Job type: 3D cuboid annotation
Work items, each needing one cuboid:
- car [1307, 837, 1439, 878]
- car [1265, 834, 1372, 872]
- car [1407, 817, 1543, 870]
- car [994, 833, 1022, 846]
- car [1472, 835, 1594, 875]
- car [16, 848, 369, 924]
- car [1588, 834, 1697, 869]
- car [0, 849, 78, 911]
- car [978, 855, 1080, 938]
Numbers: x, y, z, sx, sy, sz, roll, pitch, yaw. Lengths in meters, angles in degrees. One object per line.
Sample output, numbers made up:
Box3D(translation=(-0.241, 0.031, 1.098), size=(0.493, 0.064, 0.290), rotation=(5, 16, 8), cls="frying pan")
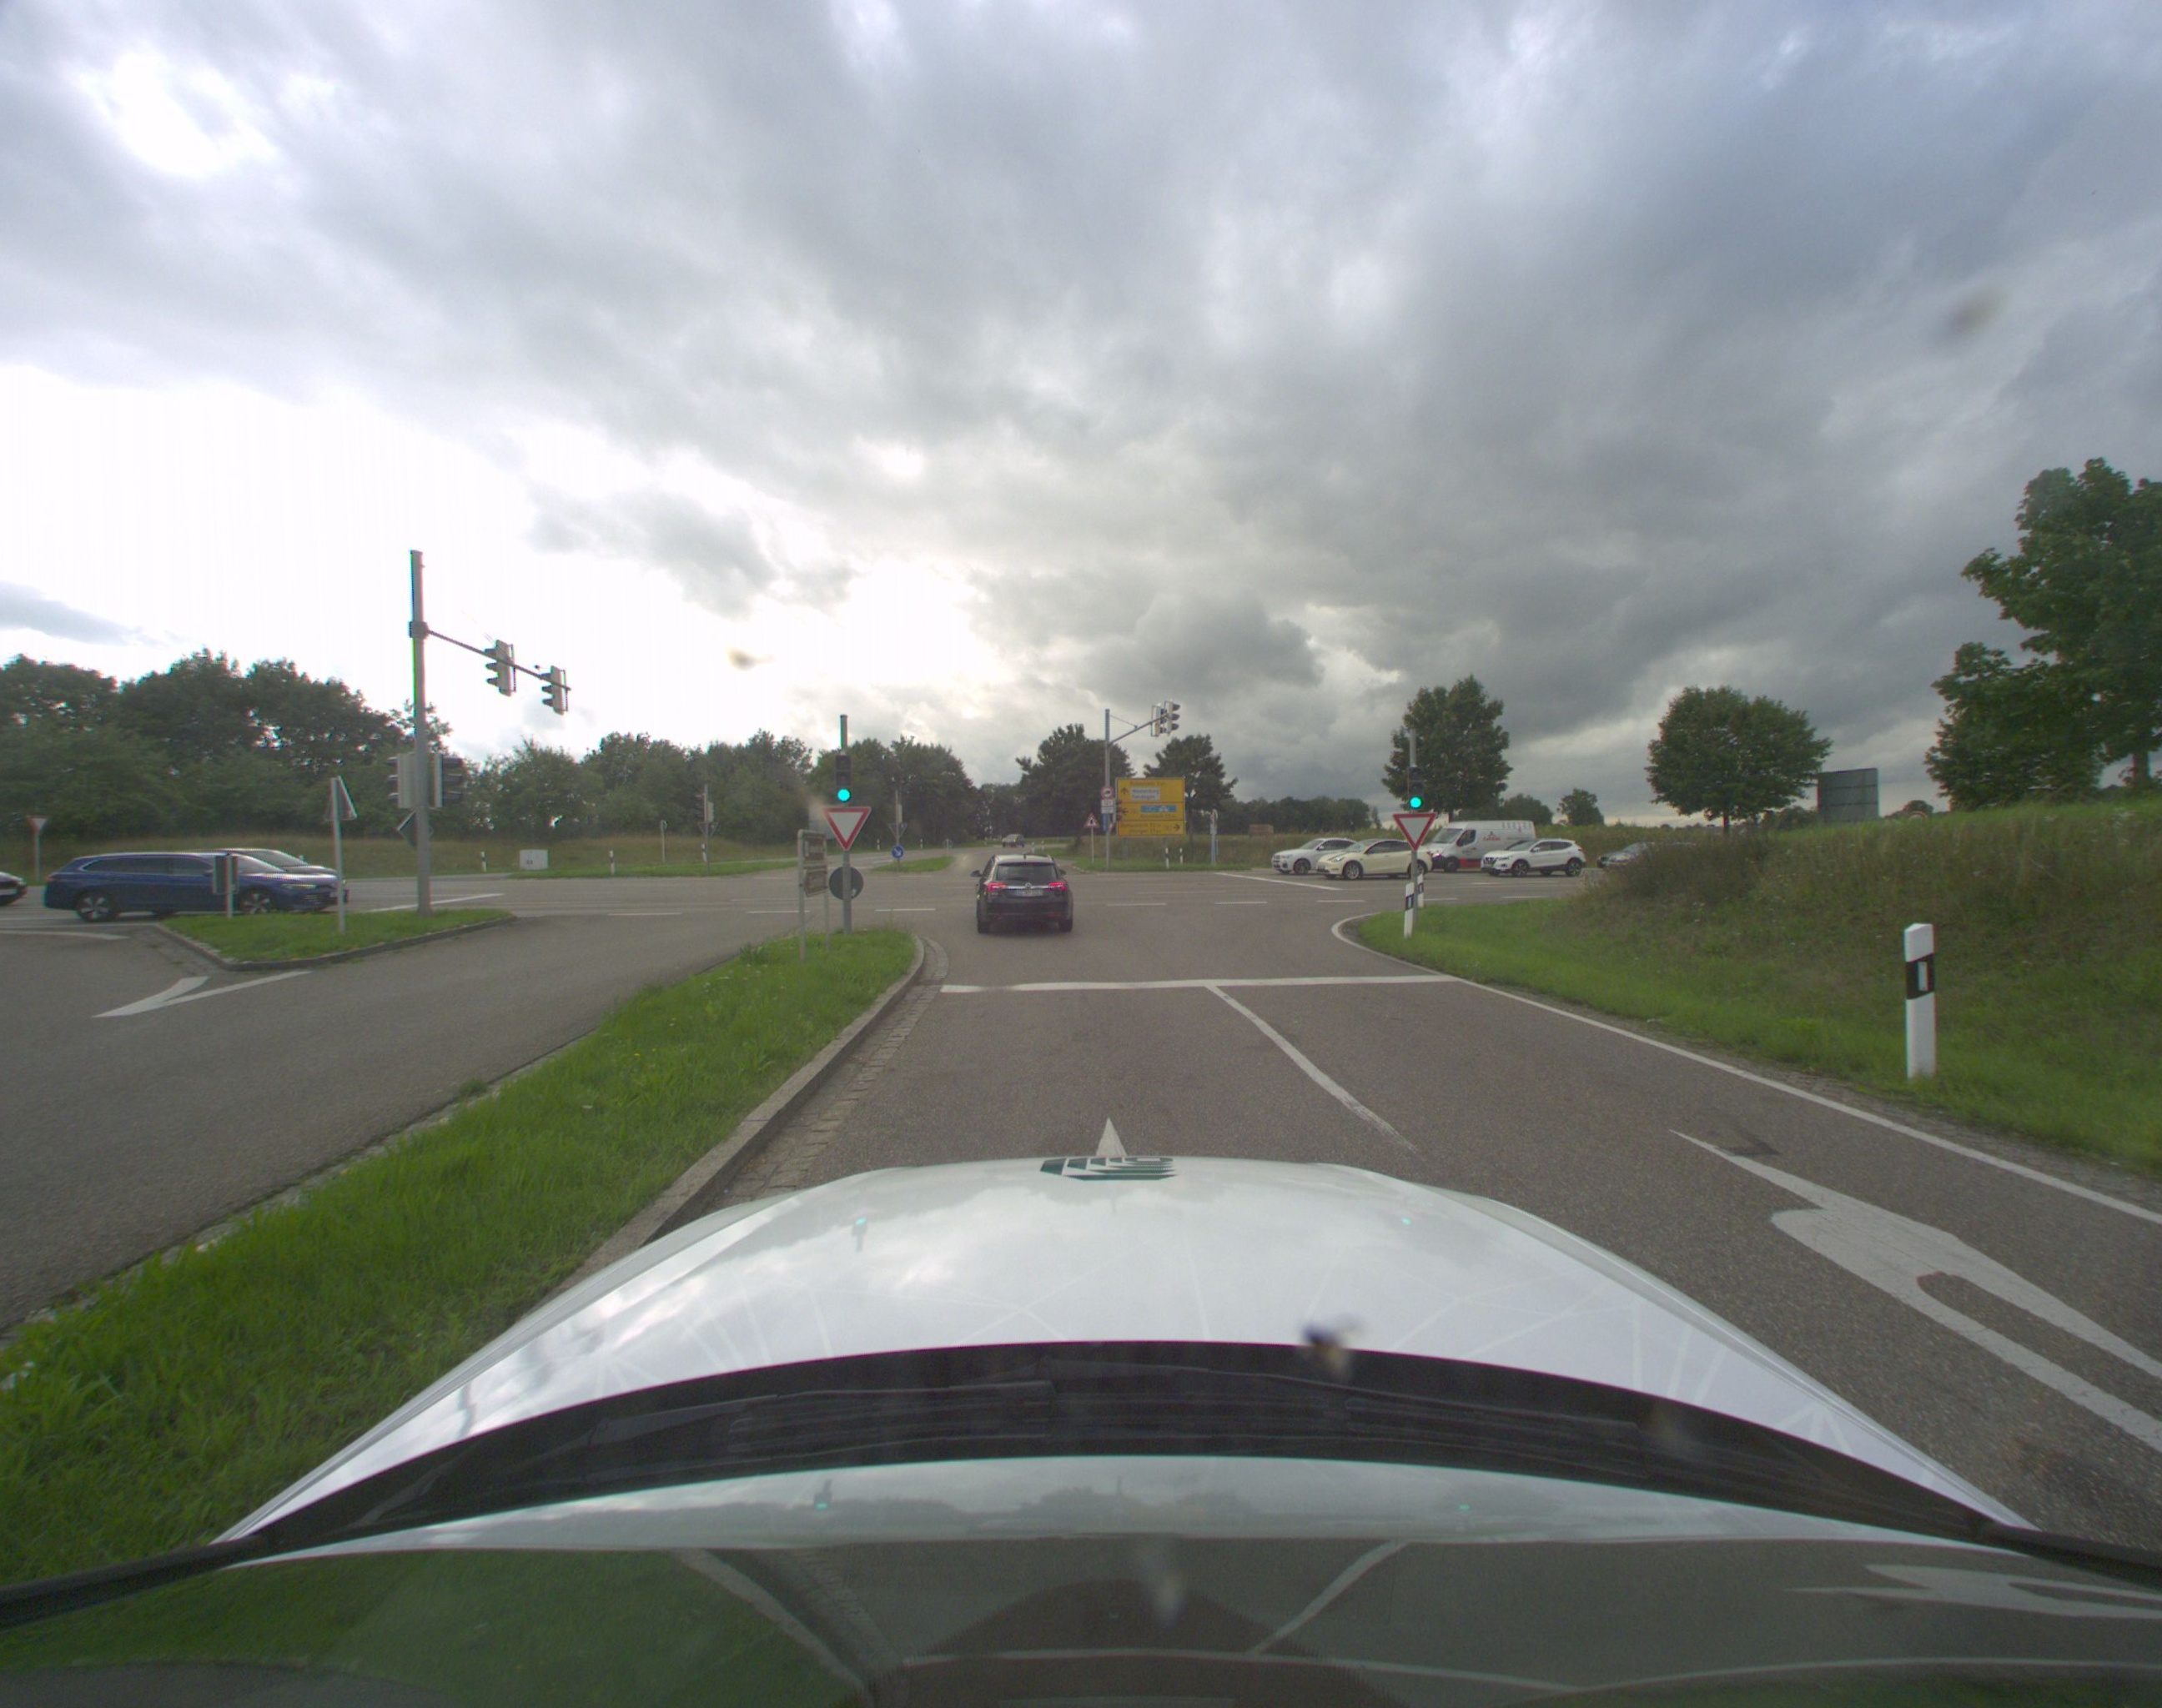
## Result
Box3D(translation=(11.824, 0.130, 33.119), size=(4.736, 1.564, 1.992), rotation=(-1, 0, -12), cls="car")
Box3D(translation=(10.717, -0.057, 36.880), size=(4.264, 1.629, 1.992), rotation=(-1, 0, -12), cls="car")
Box3D(translation=(18.773, -0.492, 38.917), size=(5.496, 2.441, 2.390), rotation=(-1, 0, -11), cls="car")
Box3D(translation=(-8.672, -1.670, 96.419), size=(1.978, 1.535, 4.017), rotation=(0, 0, 16), cls="car")
Box3D(translation=(19.287, 0.048, 34.848), size=(4.311, 1.629, 1.992), rotation=(-1, 0, -11), cls="car")
Box3D(translation=(-19.949, 0.658, 18.615), size=(5.116, 1.534, 2.043), rotation=(-1, 1, -14), cls="car")
Box3D(translation=(27.428, -0.136, 39.849), size=(4.263, 1.629, 1.992), rotation=(-1, 0, -12), cls="car")
Box3D(translation=(-29.172, 0.652, 20.349), size=(4.870, 1.483, 2.047), rotation=(0, 2, -13), cls="car")
Box3D(translation=(-1.176, 0.751, 16.623), size=(1.806, 1.451, 4.262), rotation=(-1, 0, -7), cls="car")
